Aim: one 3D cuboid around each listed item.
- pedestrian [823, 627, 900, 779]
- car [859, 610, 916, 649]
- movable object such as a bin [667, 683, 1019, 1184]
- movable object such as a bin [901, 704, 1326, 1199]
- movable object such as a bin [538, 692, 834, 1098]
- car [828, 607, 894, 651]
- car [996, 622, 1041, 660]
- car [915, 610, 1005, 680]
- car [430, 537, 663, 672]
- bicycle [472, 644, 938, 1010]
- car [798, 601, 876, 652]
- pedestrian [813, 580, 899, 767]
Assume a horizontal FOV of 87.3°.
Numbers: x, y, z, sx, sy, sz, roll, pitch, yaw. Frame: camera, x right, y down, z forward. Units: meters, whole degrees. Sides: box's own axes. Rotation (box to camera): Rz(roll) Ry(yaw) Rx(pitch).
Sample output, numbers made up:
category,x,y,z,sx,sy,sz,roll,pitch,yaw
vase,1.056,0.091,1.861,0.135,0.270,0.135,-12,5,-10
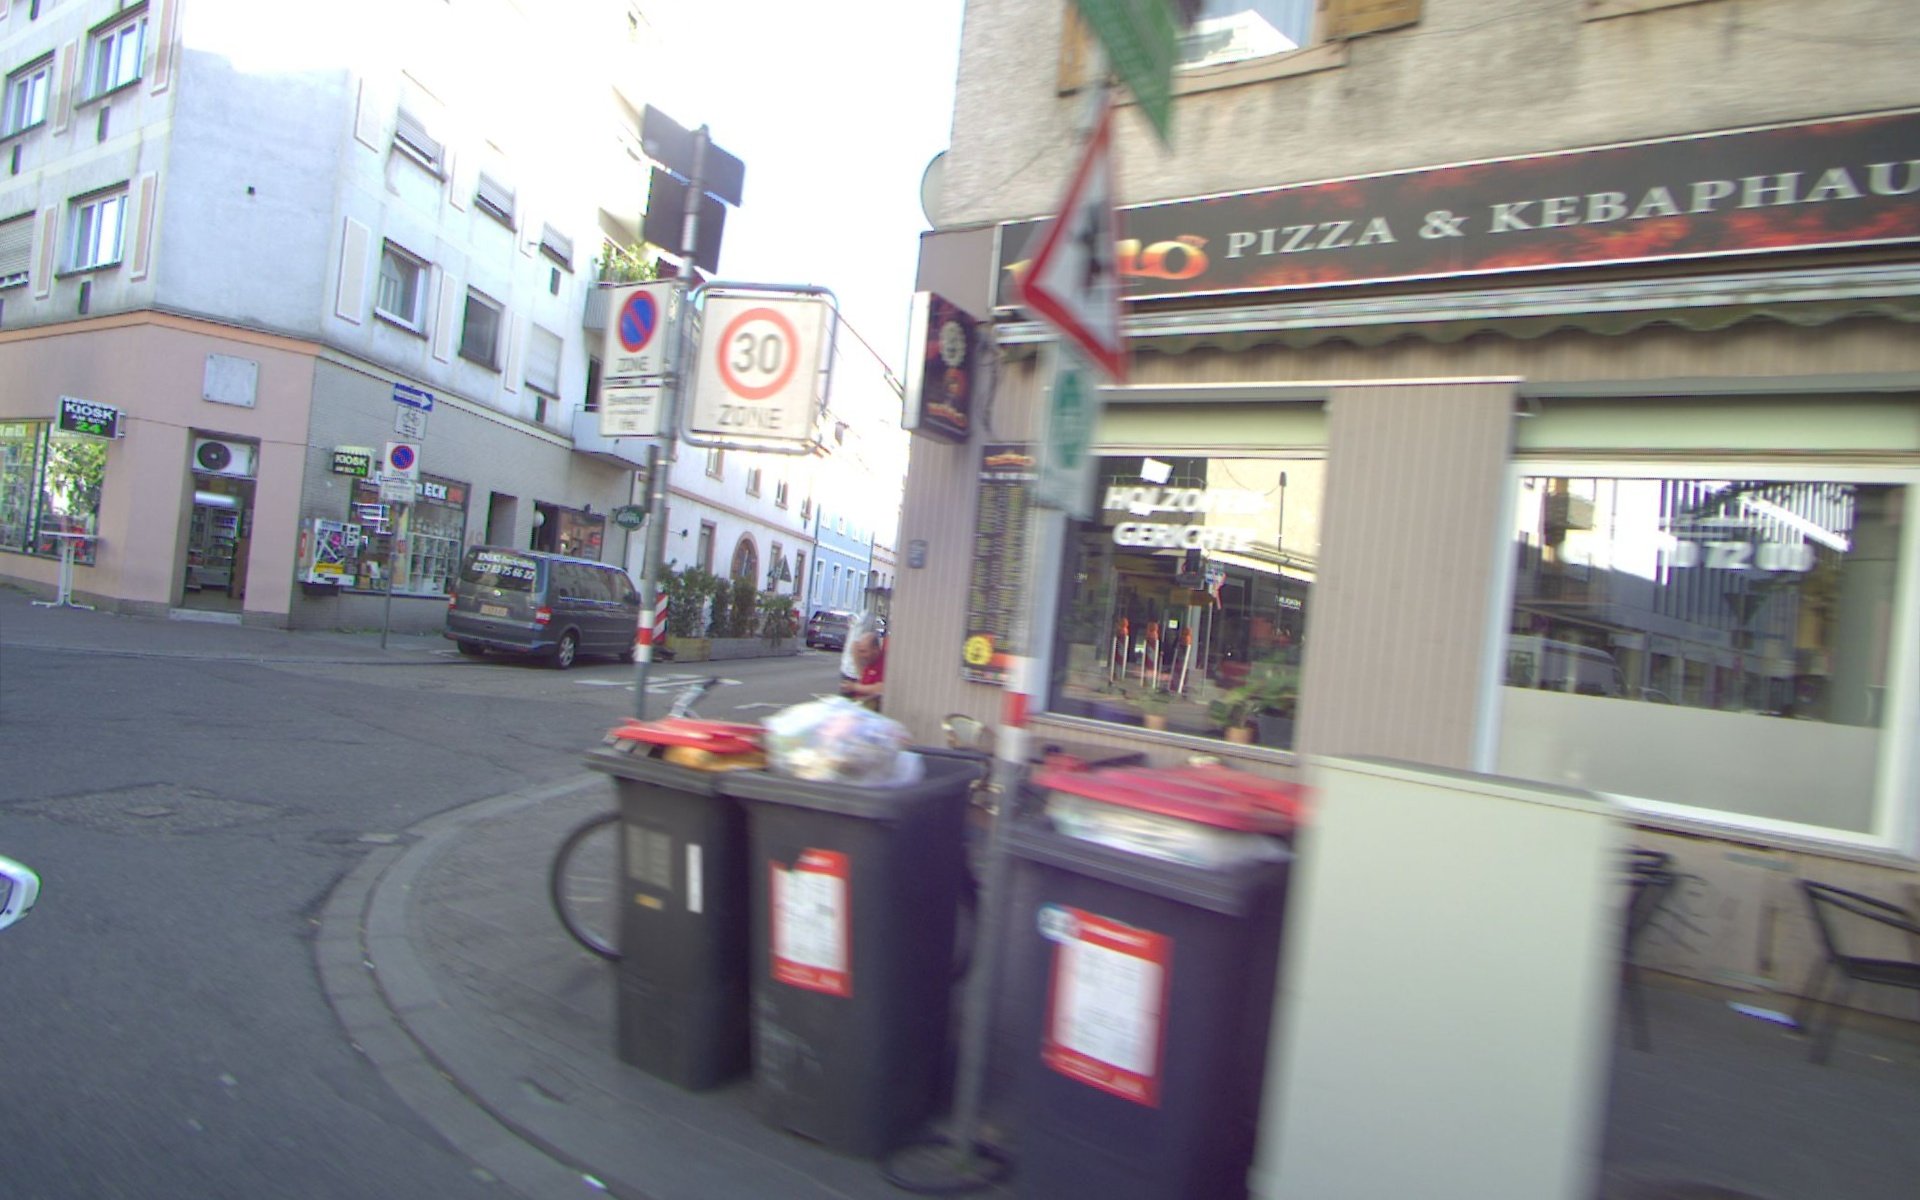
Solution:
category,x,y,z,sx,sy,sz,roll,pitch,yaw
pedestrian,-0.893,0.904,9.044,0.580,1.274,0.712,4,0,-8
car,-3.542,1.508,50.128,1.905,1.663,3.826,6,-2,8
movable object such as a bin,-0.321,0.868,2.954,0.592,1.170,0.720,6,0,33
movable object such as a bin,0.440,0.936,2.607,0.687,1.229,0.942,5,0,32
movable object such as a bin,-0.875,0.873,3.270,0.592,1.081,0.633,4,-1,33
car,-4.328,1.316,44.451,1.905,1.663,3.826,6,-2,8
car,3.145,2.158,53.345,1.905,1.664,4.054,7,-1,8
car,0.087,1.300,29.567,1.905,1.664,4.054,7,-1,8
car,-7.328,0.126,18.443,1.905,1.940,4.497,7,-1,5
bicycle,-0.969,0.829,3.898,1.641,1.160,0.378,5,1,7
car,-4.742,1.078,39.320,1.905,1.663,3.826,6,-2,8
pedestrian,-1.028,0.702,9.849,0.695,1.717,0.799,4,0,-8
